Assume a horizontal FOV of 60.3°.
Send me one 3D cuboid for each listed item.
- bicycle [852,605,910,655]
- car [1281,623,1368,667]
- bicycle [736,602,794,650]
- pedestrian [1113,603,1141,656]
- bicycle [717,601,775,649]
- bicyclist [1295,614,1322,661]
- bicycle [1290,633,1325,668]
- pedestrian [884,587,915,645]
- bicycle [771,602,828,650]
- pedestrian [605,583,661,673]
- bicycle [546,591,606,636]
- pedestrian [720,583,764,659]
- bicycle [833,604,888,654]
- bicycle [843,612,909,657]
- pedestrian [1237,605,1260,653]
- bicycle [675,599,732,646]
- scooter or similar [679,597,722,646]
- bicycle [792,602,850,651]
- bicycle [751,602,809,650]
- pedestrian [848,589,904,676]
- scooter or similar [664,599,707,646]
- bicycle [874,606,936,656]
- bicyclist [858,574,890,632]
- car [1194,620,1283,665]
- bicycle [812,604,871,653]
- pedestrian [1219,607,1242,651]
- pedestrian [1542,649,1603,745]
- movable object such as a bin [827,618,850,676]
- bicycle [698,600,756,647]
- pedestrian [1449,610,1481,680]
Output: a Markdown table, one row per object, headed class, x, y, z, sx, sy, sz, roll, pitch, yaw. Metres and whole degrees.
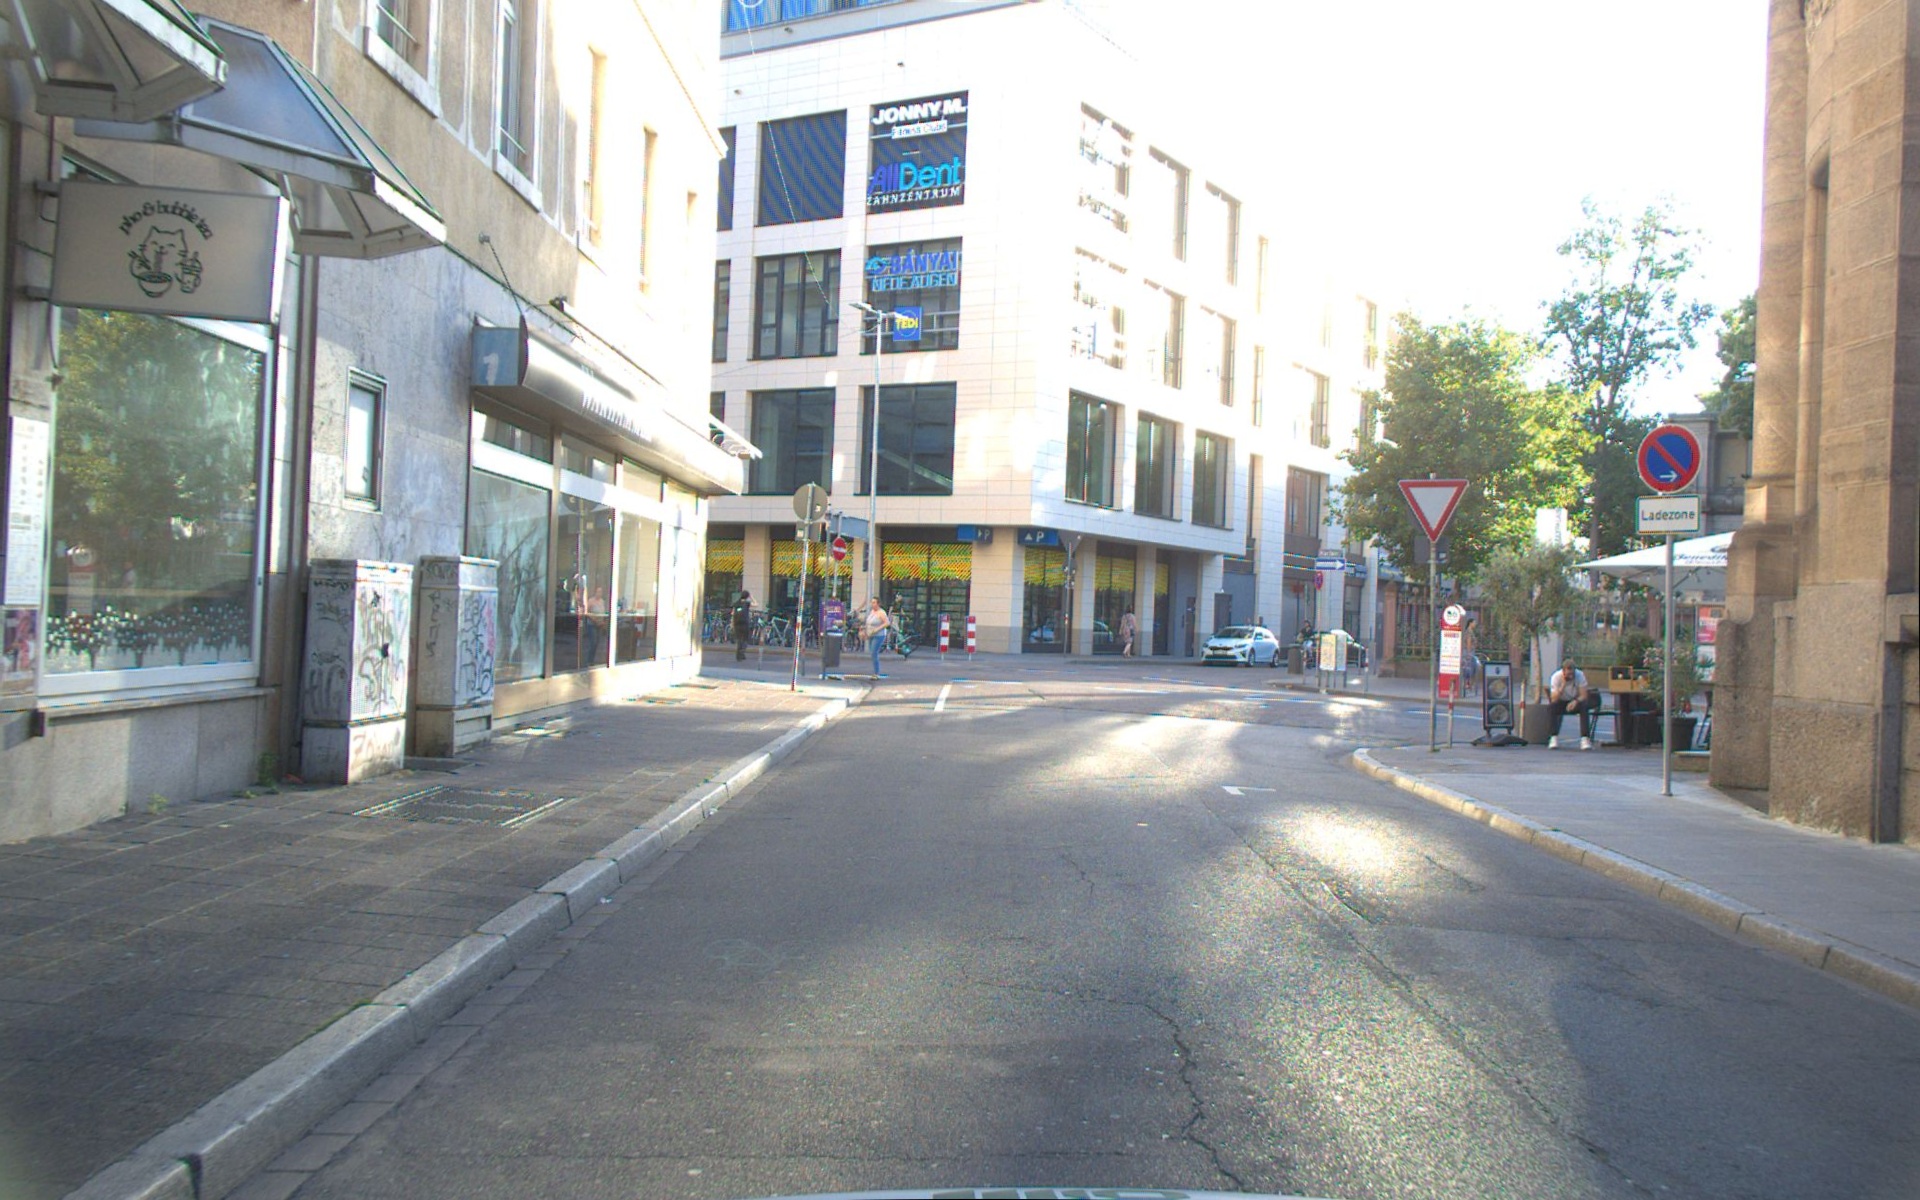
| class | x | y | z | sx | sy | sz | roll | pitch | yaw |
| --- | --- | --- | --- | --- | --- | --- | --- | --- | --- |
| bicycle | -2.127 | 0.810 | 44.638 | 0.570 | 1.277 | 2.041 | 2 | -1 | 27 |
| car | 14.669 | 1.818 | 66.343 | 1.850 | 1.626 | 4.675 | 2 | -1 | 33 |
| bicycle | -5.496 | 0.740 | 46.684 | 0.502 | 1.277 | 1.975 | 2 | -1 | 29 |
| pedestrian | 5.650 | 0.992 | 55.876 | 0.660 | 1.775 | 0.646 | 2 | -1 | 32 |
| bicycle | -6.082 | 0.717 | 47.070 | 0.502 | 1.277 | 1.975 | 2 | -1 | 29 |
| bicyclist | 12.400 | 1.339 | 58.861 | 0.646 | 1.598 | 0.861 | 2 | -2 | 30 |
| bicycle | 12.356 | 1.806 | 58.834 | 0.651 | 1.158 | 1.818 | 2 | -1 | 30 |
| pedestrian | -1.866 | 0.482 | 51.176 | 0.627 | 1.753 | 0.839 | 3 | -1 | -24 |
| bicycle | -4.465 | 0.738 | 46.079 | 0.502 | 1.277 | 1.975 | 2 | -1 | 28 |
| pedestrian | -6.166 | 0.532 | 31.220 | 0.716 | 1.641 | 0.805 | 2 | -1 | 11 |
| bicycle | -11.708 | 0.422 | 50.493 | 0.502 | 1.277 | 1.975 | 2 | -1 | 29 |
| pedestrian | -4.988 | 0.480 | 37.845 | 0.855 | 1.687 | 0.616 | 3 | -1 | -15 |
| bicycle | -2.695 | 0.805 | 44.903 | 0.502 | 1.277 | 1.976 | 2 | -1 | 27 |
| bicycle | -2.529 | 1.039 | 49.903 | 1.936 | 1.277 | 0.611 | 2 | -1 | 31 |
| pedestrian | 11.472 | 1.158 | 65.764 | 0.659 | 1.868 | 0.646 | 2 | -1 | 29 |
| bicycle | -7.415 | 0.663 | 47.895 | 0.502 | 1.277 | 1.976 | 2 | -1 | 28 |
| scooter or similar | -7.032 | 0.594 | 44.862 | 0.379 | 1.282 | 1.268 | 2 | -2 | 30 |
| bicycle | -3.819 | 0.754 | 45.657 | 0.502 | 1.277 | 1.975 | 2 | -1 | 29 |
| bicycle | -5.032 | 0.745 | 46.369 | 0.502 | 1.277 | 1.975 | 2 | -1 | 29 |
| pedestrian | -1.631 | 0.627 | 32.181 | 0.793 | 1.641 | 0.728 | 3 | -1 | -29 |
| scooter or similar | -7.492 | 0.610 | 45.213 | 0.379 | 1.233 | 1.268 | 2 | -2 | 30 |
| bicycle | -1.450 | 0.844 | 44.310 | 0.651 | 1.277 | 2.138 | 2 | -1 | 27 |
| bicyclist | -2.588 | 0.098 | 49.913 | 0.630 | 1.725 | 0.682 | 2 | -1 | 32 |
| car | 9.932 | 1.507 | 58.688 | 1.744 | 1.478 | 4.222 | 2 | -1 | 30 |
| bicycle | -3.230 | 0.795 | 45.198 | 0.502 | 1.277 | 1.974 | 2 | -2 | 31 |
| pedestrian | 10.827 | 1.153 | 66.206 | 0.659 | 1.704 | 0.646 | 2 | -1 | 29 |
| pedestrian | 8.162 | 1.279 | 22.064 | 0.593 | 1.209 | 0.822 | 2 | 0 | 11 |
| movable object such as a bin | -2.316 | 0.888 | 31.486 | 0.352 | 1.082 | 0.355 | 2 | -1 | -10 |
| bicycle | -6.681 | 0.681 | 47.528 | 0.502 | 1.277 | 1.975 | 2 | -1 | 29 |
| pedestrian | 12.595 | 1.120 | 41.229 | 0.688 | 1.699 | 0.642 | 2 | 1 | 18 |
